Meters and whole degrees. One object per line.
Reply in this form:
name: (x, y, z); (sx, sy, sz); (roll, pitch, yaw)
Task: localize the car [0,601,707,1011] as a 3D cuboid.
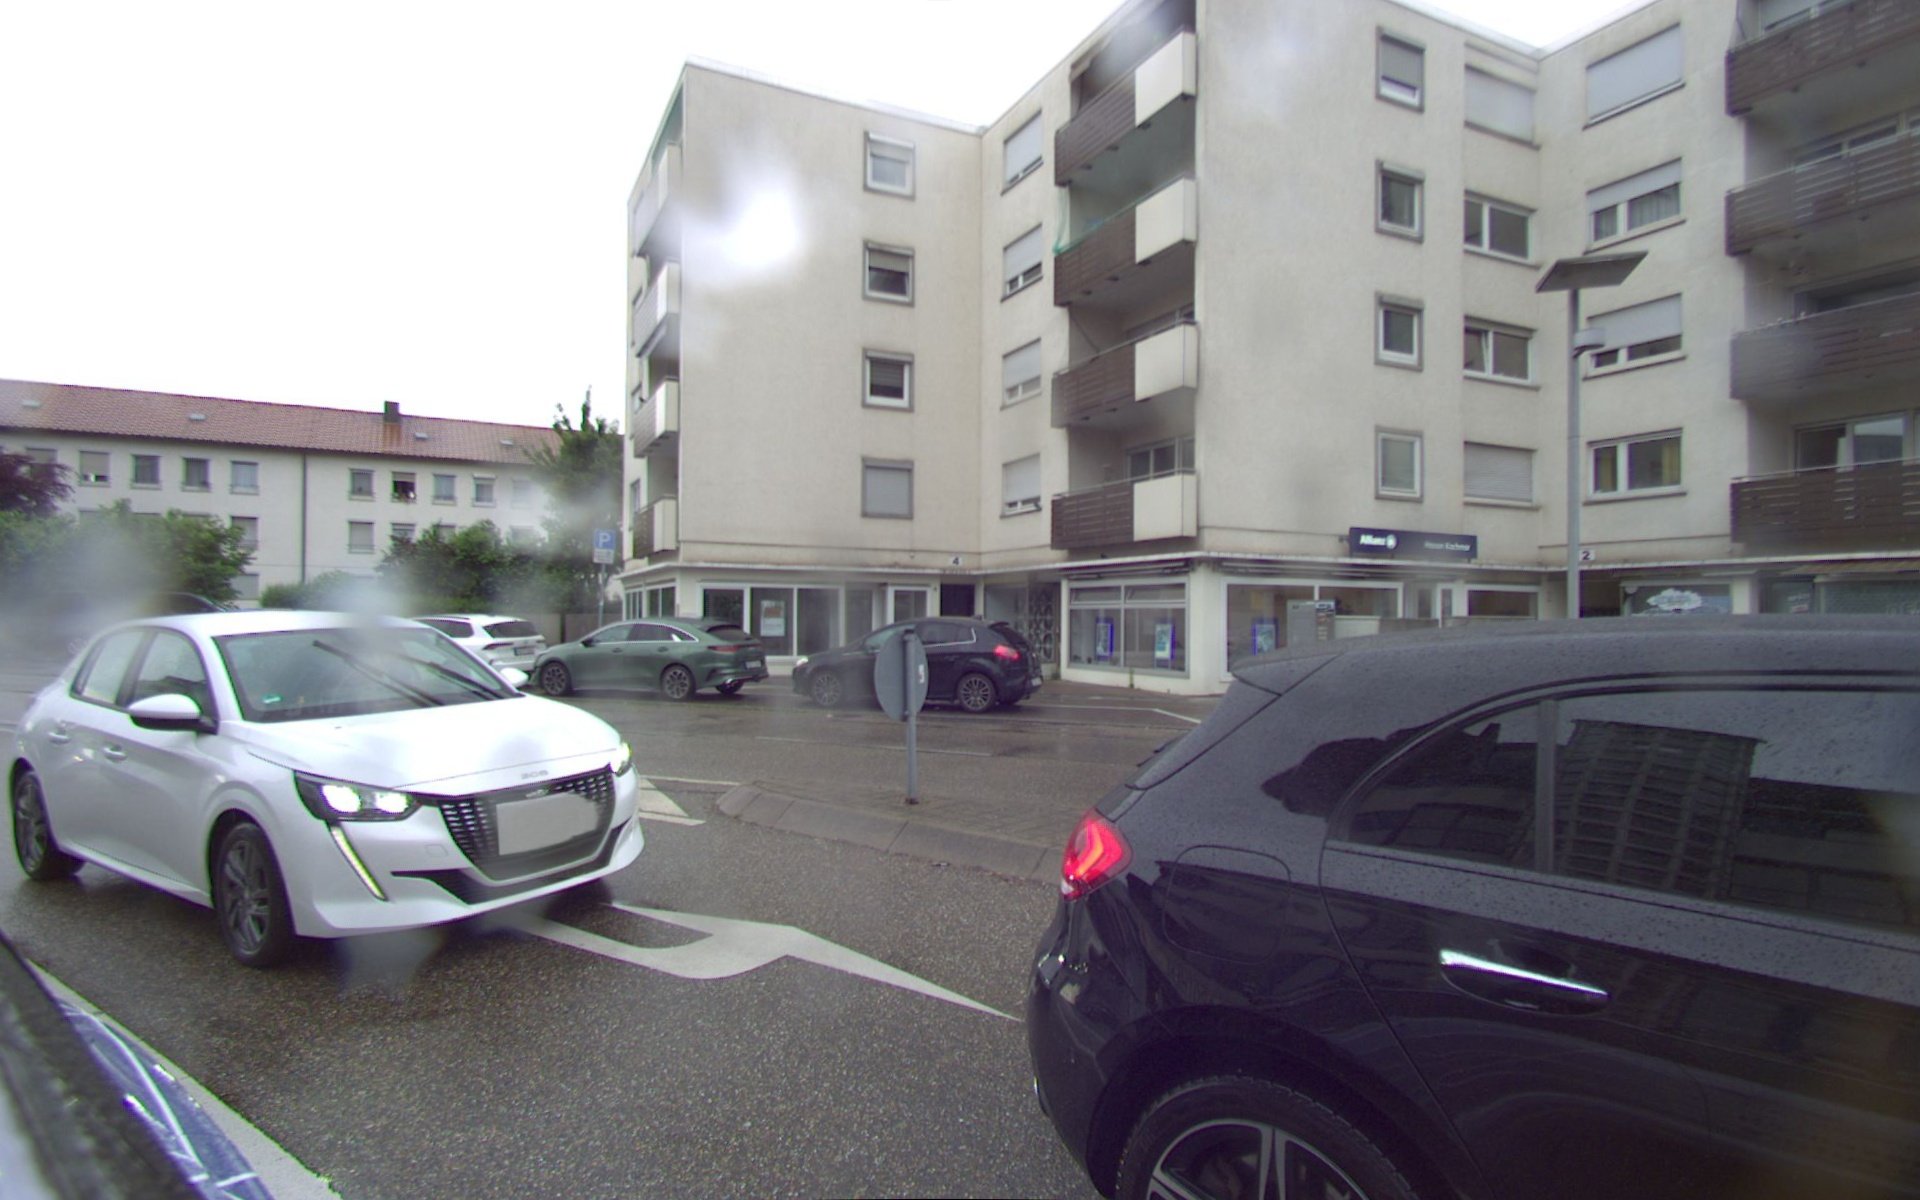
car: (-3.367, 0.752, 5.321); (3.882, 1.420, 1.726); (-1, 0, 31)

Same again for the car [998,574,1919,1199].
car: (2.179, 0.688, 1.309); (4.090, 1.492, 1.646); (-2, -1, 40)

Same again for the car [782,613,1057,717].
car: (-0.651, 0.988, 16.615); (4.156, 1.471, 1.825); (0, 0, 20)

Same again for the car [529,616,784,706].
car: (-5.538, 1.044, 18.522); (4.241, 1.445, 1.826); (0, 0, 19)

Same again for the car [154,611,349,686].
car: (-15.642, 1.035, 22.364); (3.852, 1.517, 1.623); (0, -1, 20)

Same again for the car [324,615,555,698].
car: (-10.459, 1.076, 20.358); (4.313, 1.511, 1.627); (0, -1, 20)
